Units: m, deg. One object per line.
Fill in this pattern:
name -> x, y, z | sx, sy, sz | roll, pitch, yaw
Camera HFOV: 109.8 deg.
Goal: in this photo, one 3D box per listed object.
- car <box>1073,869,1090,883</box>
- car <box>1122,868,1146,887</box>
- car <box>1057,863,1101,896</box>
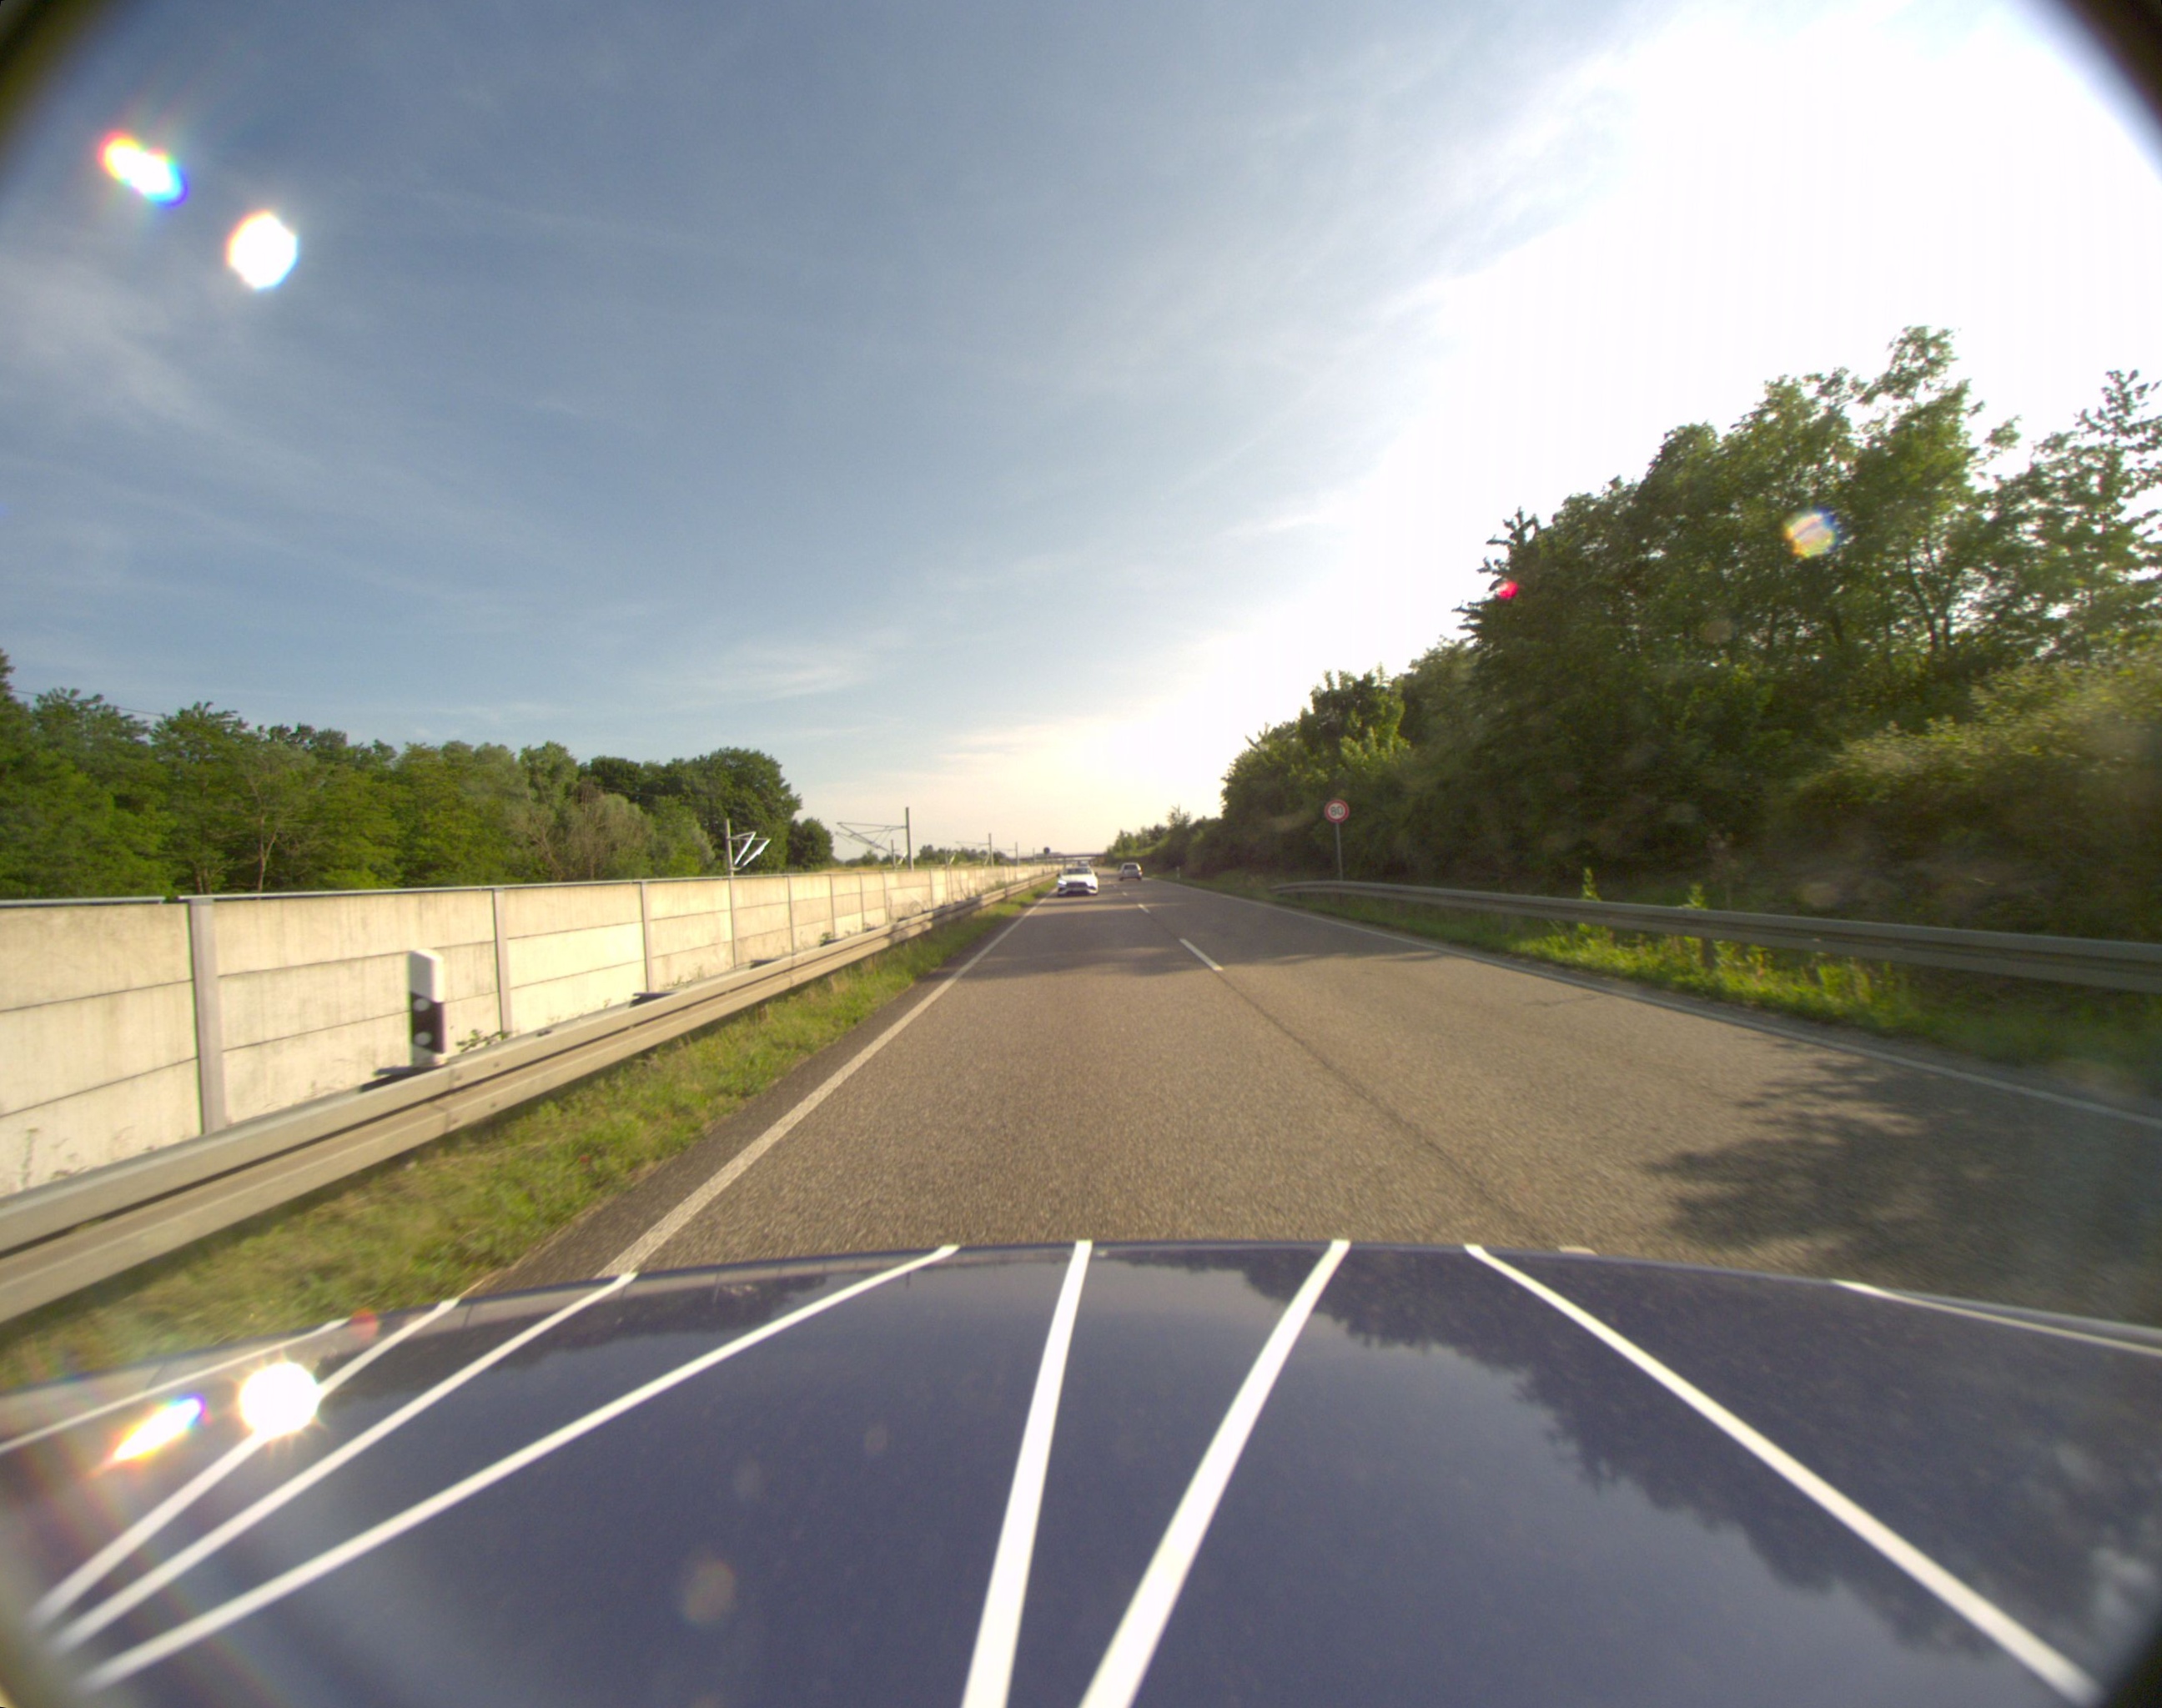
car -> 0.040, 2.653, 92.037 | 1.953, 1.430, 4.612 | -3, -1, 1
car -> 4.367, 1.935, 62.945 | 1.724, 1.386, 4.361 | -2, 0, 1
car -> -0.069, 1.191, 37.071 | 1.953, 1.430, 4.612 | -2, -1, 1
